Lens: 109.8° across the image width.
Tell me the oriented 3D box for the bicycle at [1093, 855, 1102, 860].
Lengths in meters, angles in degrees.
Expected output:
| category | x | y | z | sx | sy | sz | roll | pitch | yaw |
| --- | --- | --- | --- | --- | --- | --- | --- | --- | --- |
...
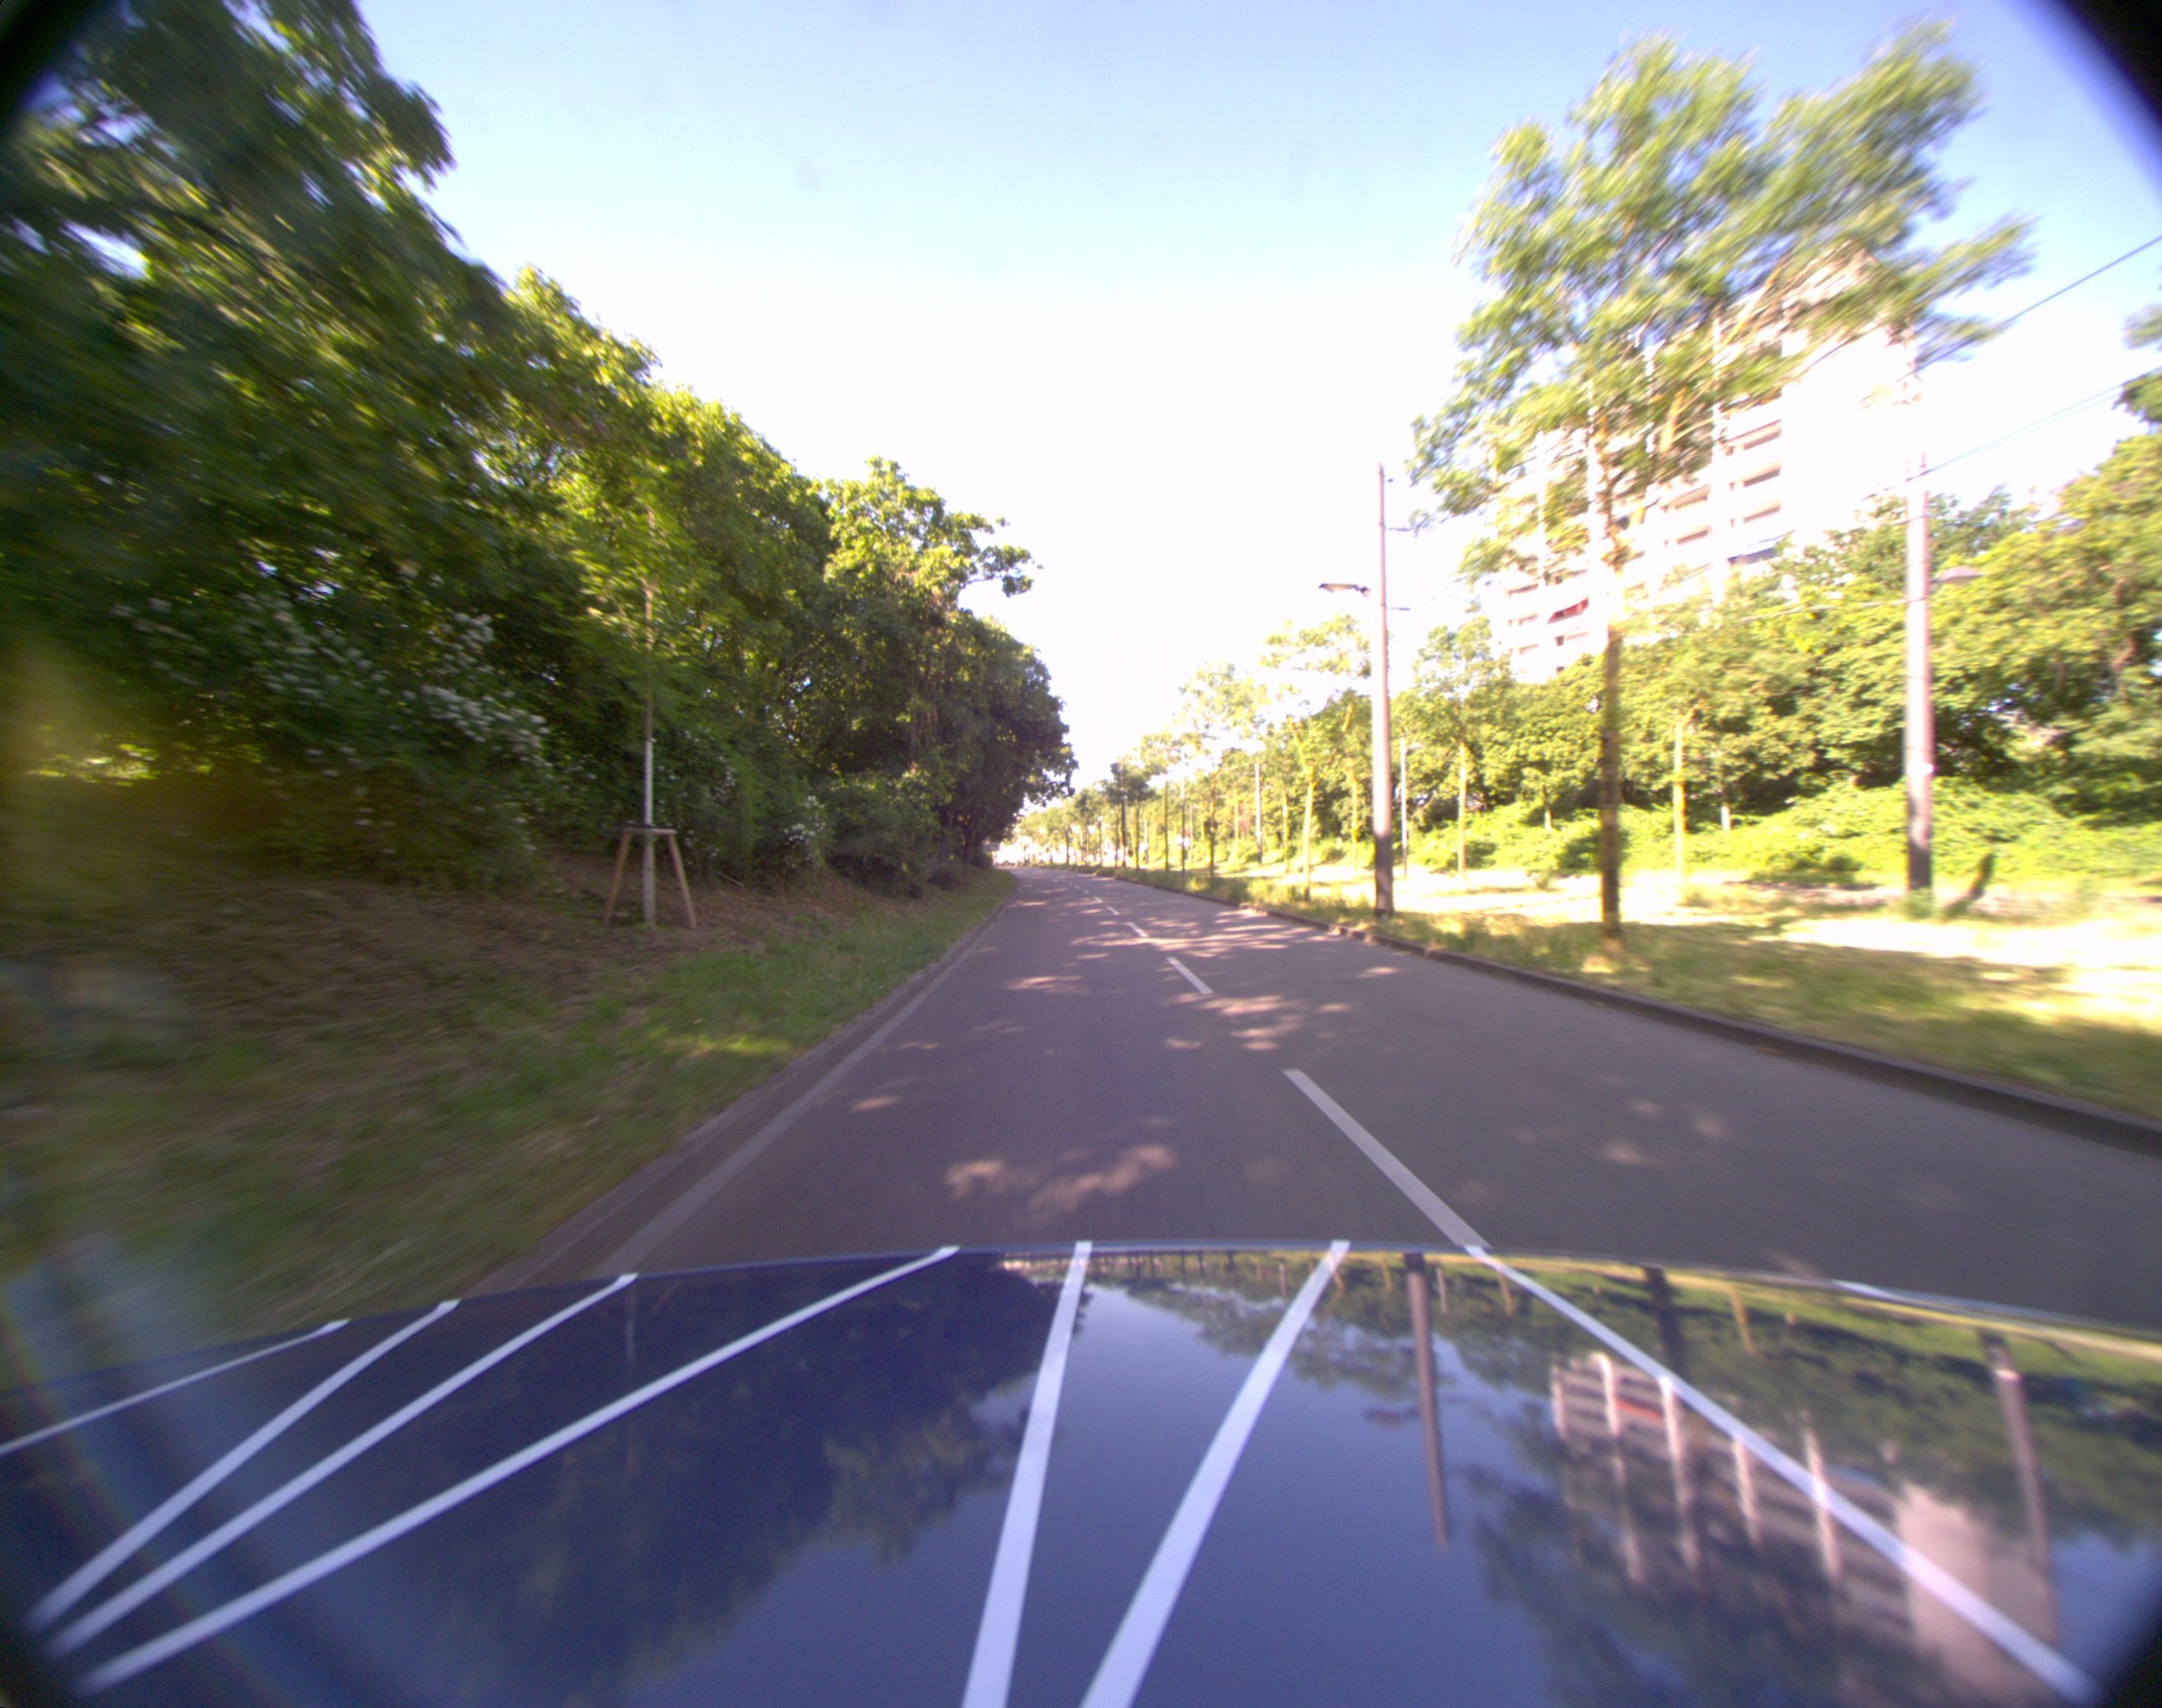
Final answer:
| category | x | y | z | sx | sy | sz | roll | pitch | yaw |
| --- | --- | --- | --- | --- | --- | --- | --- | --- | --- |
| bicycle | 4.733 | 0.975 | 220.398 | 2.555 | 1.205 | 0.718 | -1 | 0 | -23 |
